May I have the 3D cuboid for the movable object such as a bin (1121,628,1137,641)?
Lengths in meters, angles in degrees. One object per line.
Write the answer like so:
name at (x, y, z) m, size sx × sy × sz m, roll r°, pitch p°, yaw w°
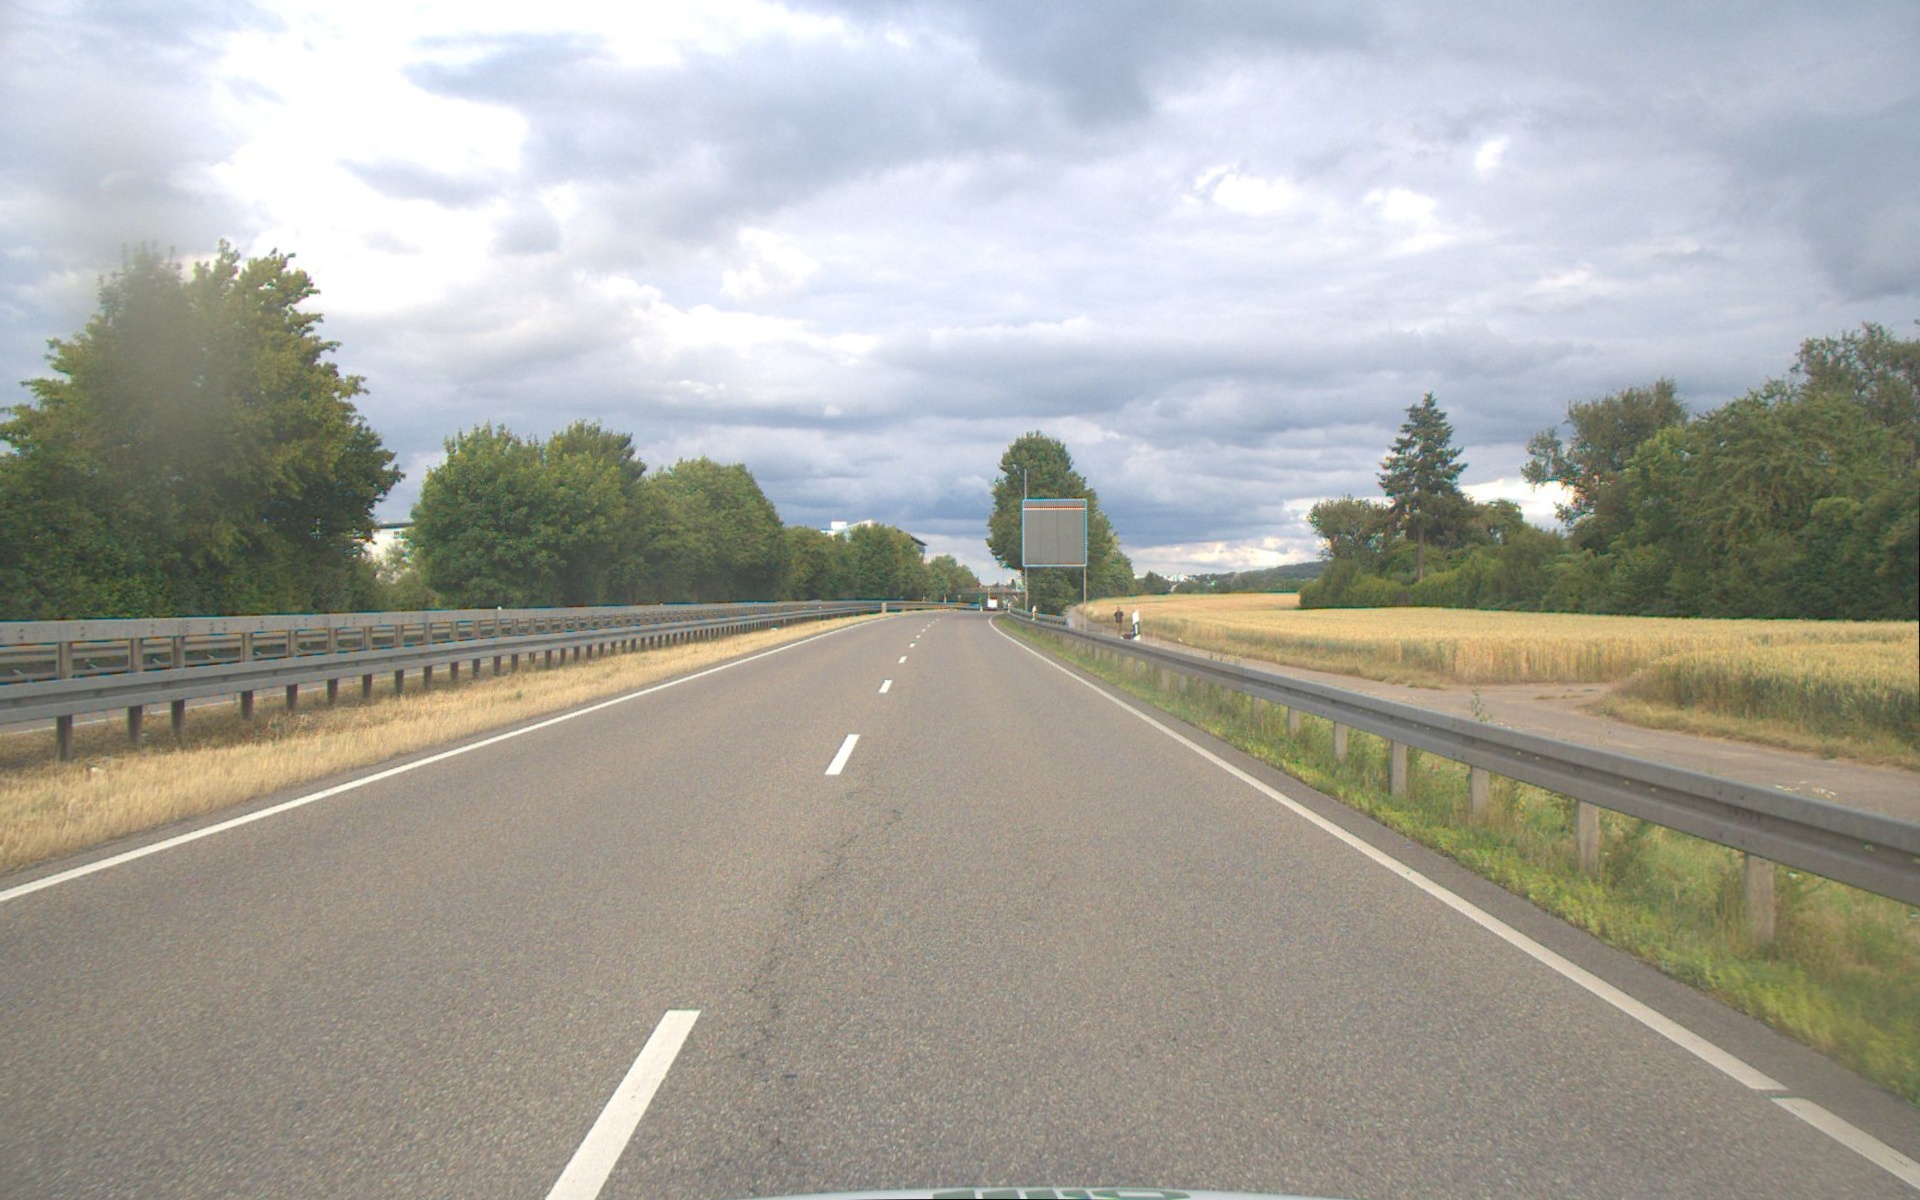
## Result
movable object such as a bin at (9.153, 1.886, 89.537) m, size 0.717 × 0.657 × 1.235 m, roll 2°, pitch 0°, yaw 0°

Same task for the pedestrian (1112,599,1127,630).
pedestrian at (9.778, 0.899, 101.474) m, size 0.755 × 1.900 × 0.940 m, roll 2°, pitch -1°, yaw -1°
